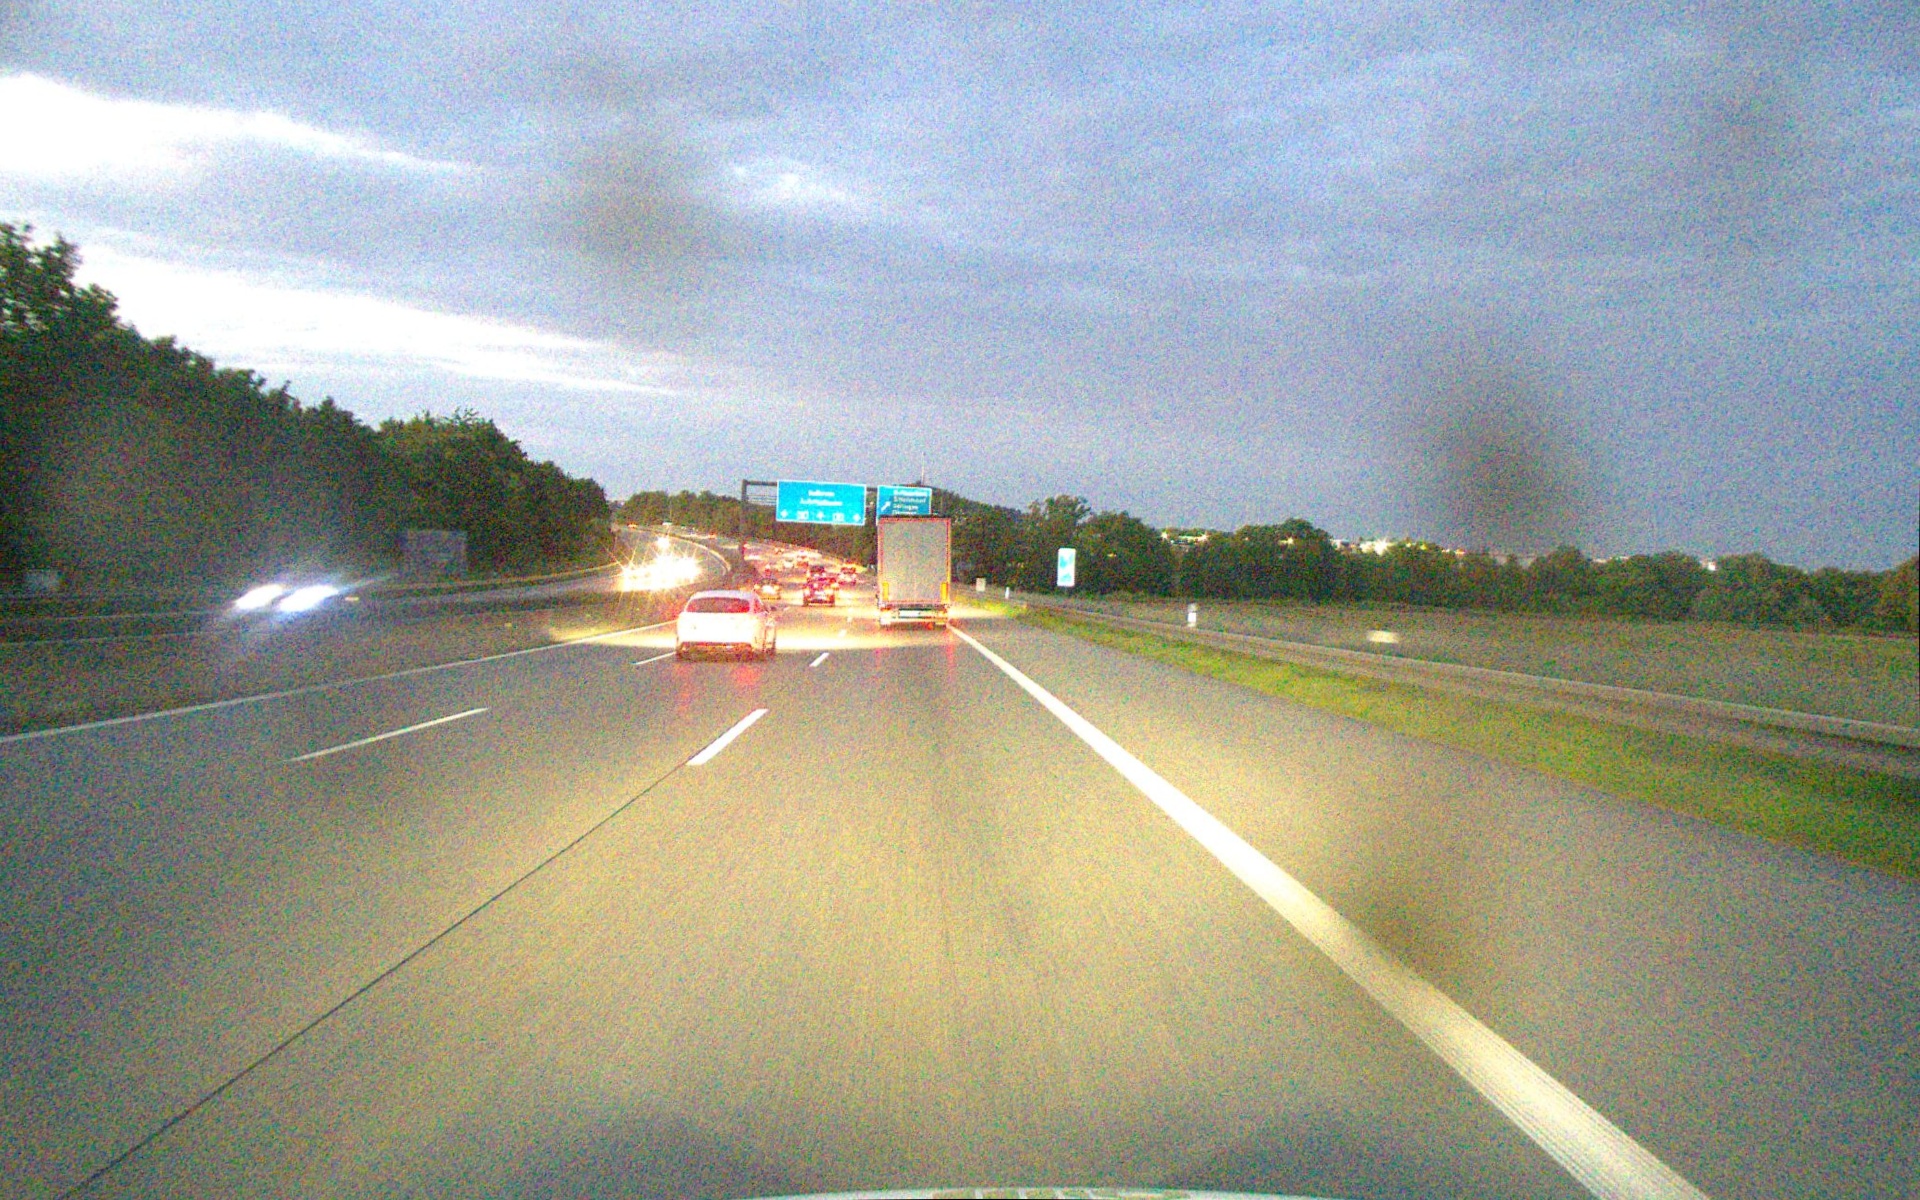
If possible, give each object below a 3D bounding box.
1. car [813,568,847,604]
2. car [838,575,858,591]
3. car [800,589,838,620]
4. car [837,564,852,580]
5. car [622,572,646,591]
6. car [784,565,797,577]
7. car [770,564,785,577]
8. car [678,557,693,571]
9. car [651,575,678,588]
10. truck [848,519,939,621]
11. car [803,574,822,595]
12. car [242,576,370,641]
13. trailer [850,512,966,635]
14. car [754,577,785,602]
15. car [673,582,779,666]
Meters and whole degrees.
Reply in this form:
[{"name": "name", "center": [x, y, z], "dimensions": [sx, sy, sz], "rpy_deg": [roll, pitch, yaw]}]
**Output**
[{"name": "car", "center": [-9.108, -0.970, 115.469], "dimensions": [1.957, 2.422, 3.990], "rpy_deg": [1, 0, -10]}, {"name": "car", "center": [-11.802, -1.785, 174.542], "dimensions": [1.954, 1.561, 3.997], "rpy_deg": [1, 0, -4]}, {"name": "car", "center": [-8.179, 0.247, 96.017], "dimensions": [2.024, 1.715, 4.573], "rpy_deg": [1, 0, -3]}, {"name": "car", "center": [-16.032, -3.851, 229.044], "dimensions": [1.955, 2.013, 3.995], "rpy_deg": [1, 0, -5]}, {"name": "car", "center": [-36.010, -2.039, 182.716], "dimensions": [1.954, 1.926, 5.053], "rpy_deg": [1, 0, -5]}, {"name": "car", "center": [-26.423, -4.543, 258.218], "dimensions": [1.955, 1.650, 3.994], "rpy_deg": [1, 0, -7]}, {"name": "car", "center": [-25.854, -4.179, 234.233], "dimensions": [1.954, 1.650, 3.997], "rpy_deg": [1, 0, -4]}, {"name": "car", "center": [-41.650, -5.403, 250.802], "dimensions": [1.838, 1.926, 5.053], "rpy_deg": [1, 0, -5]}, {"name": "car", "center": [-29.350, -1.827, 164.560], "dimensions": [2.019, 1.247, 5.230], "rpy_deg": [1, 0, -3]}, {"name": "truck", "center": [-2.914, -1.312, 70.616], "dimensions": [3.482, 4.162, 6.144], "rpy_deg": [0, 1, -6]}, {"name": "car", "center": [-15.036, -1.559, 168.777], "dimensions": [1.955, 2.049, 3.996], "rpy_deg": [1, 0, -5]}, {"name": "car", "center": [-20.606, 0.257, 52.417], "dimensions": [1.875, 1.900, 6.012], "rpy_deg": [1, 0, -3]}, {"name": "trailer", "center": [-2.269, -1.110, 64.079], "dimensions": [3.482, 4.188, 15.046], "rpy_deg": [0, 2, -6]}, {"name": "car", "center": [-12.960, -0.680, 112.741], "dimensions": [1.726, 1.602, 4.574], "rpy_deg": [1, 0, -3]}, {"name": "car", "center": [-4.934, 0.485, 35.475], "dimensions": [1.869, 1.642, 4.799], "rpy_deg": [1, 0, -4]}]
